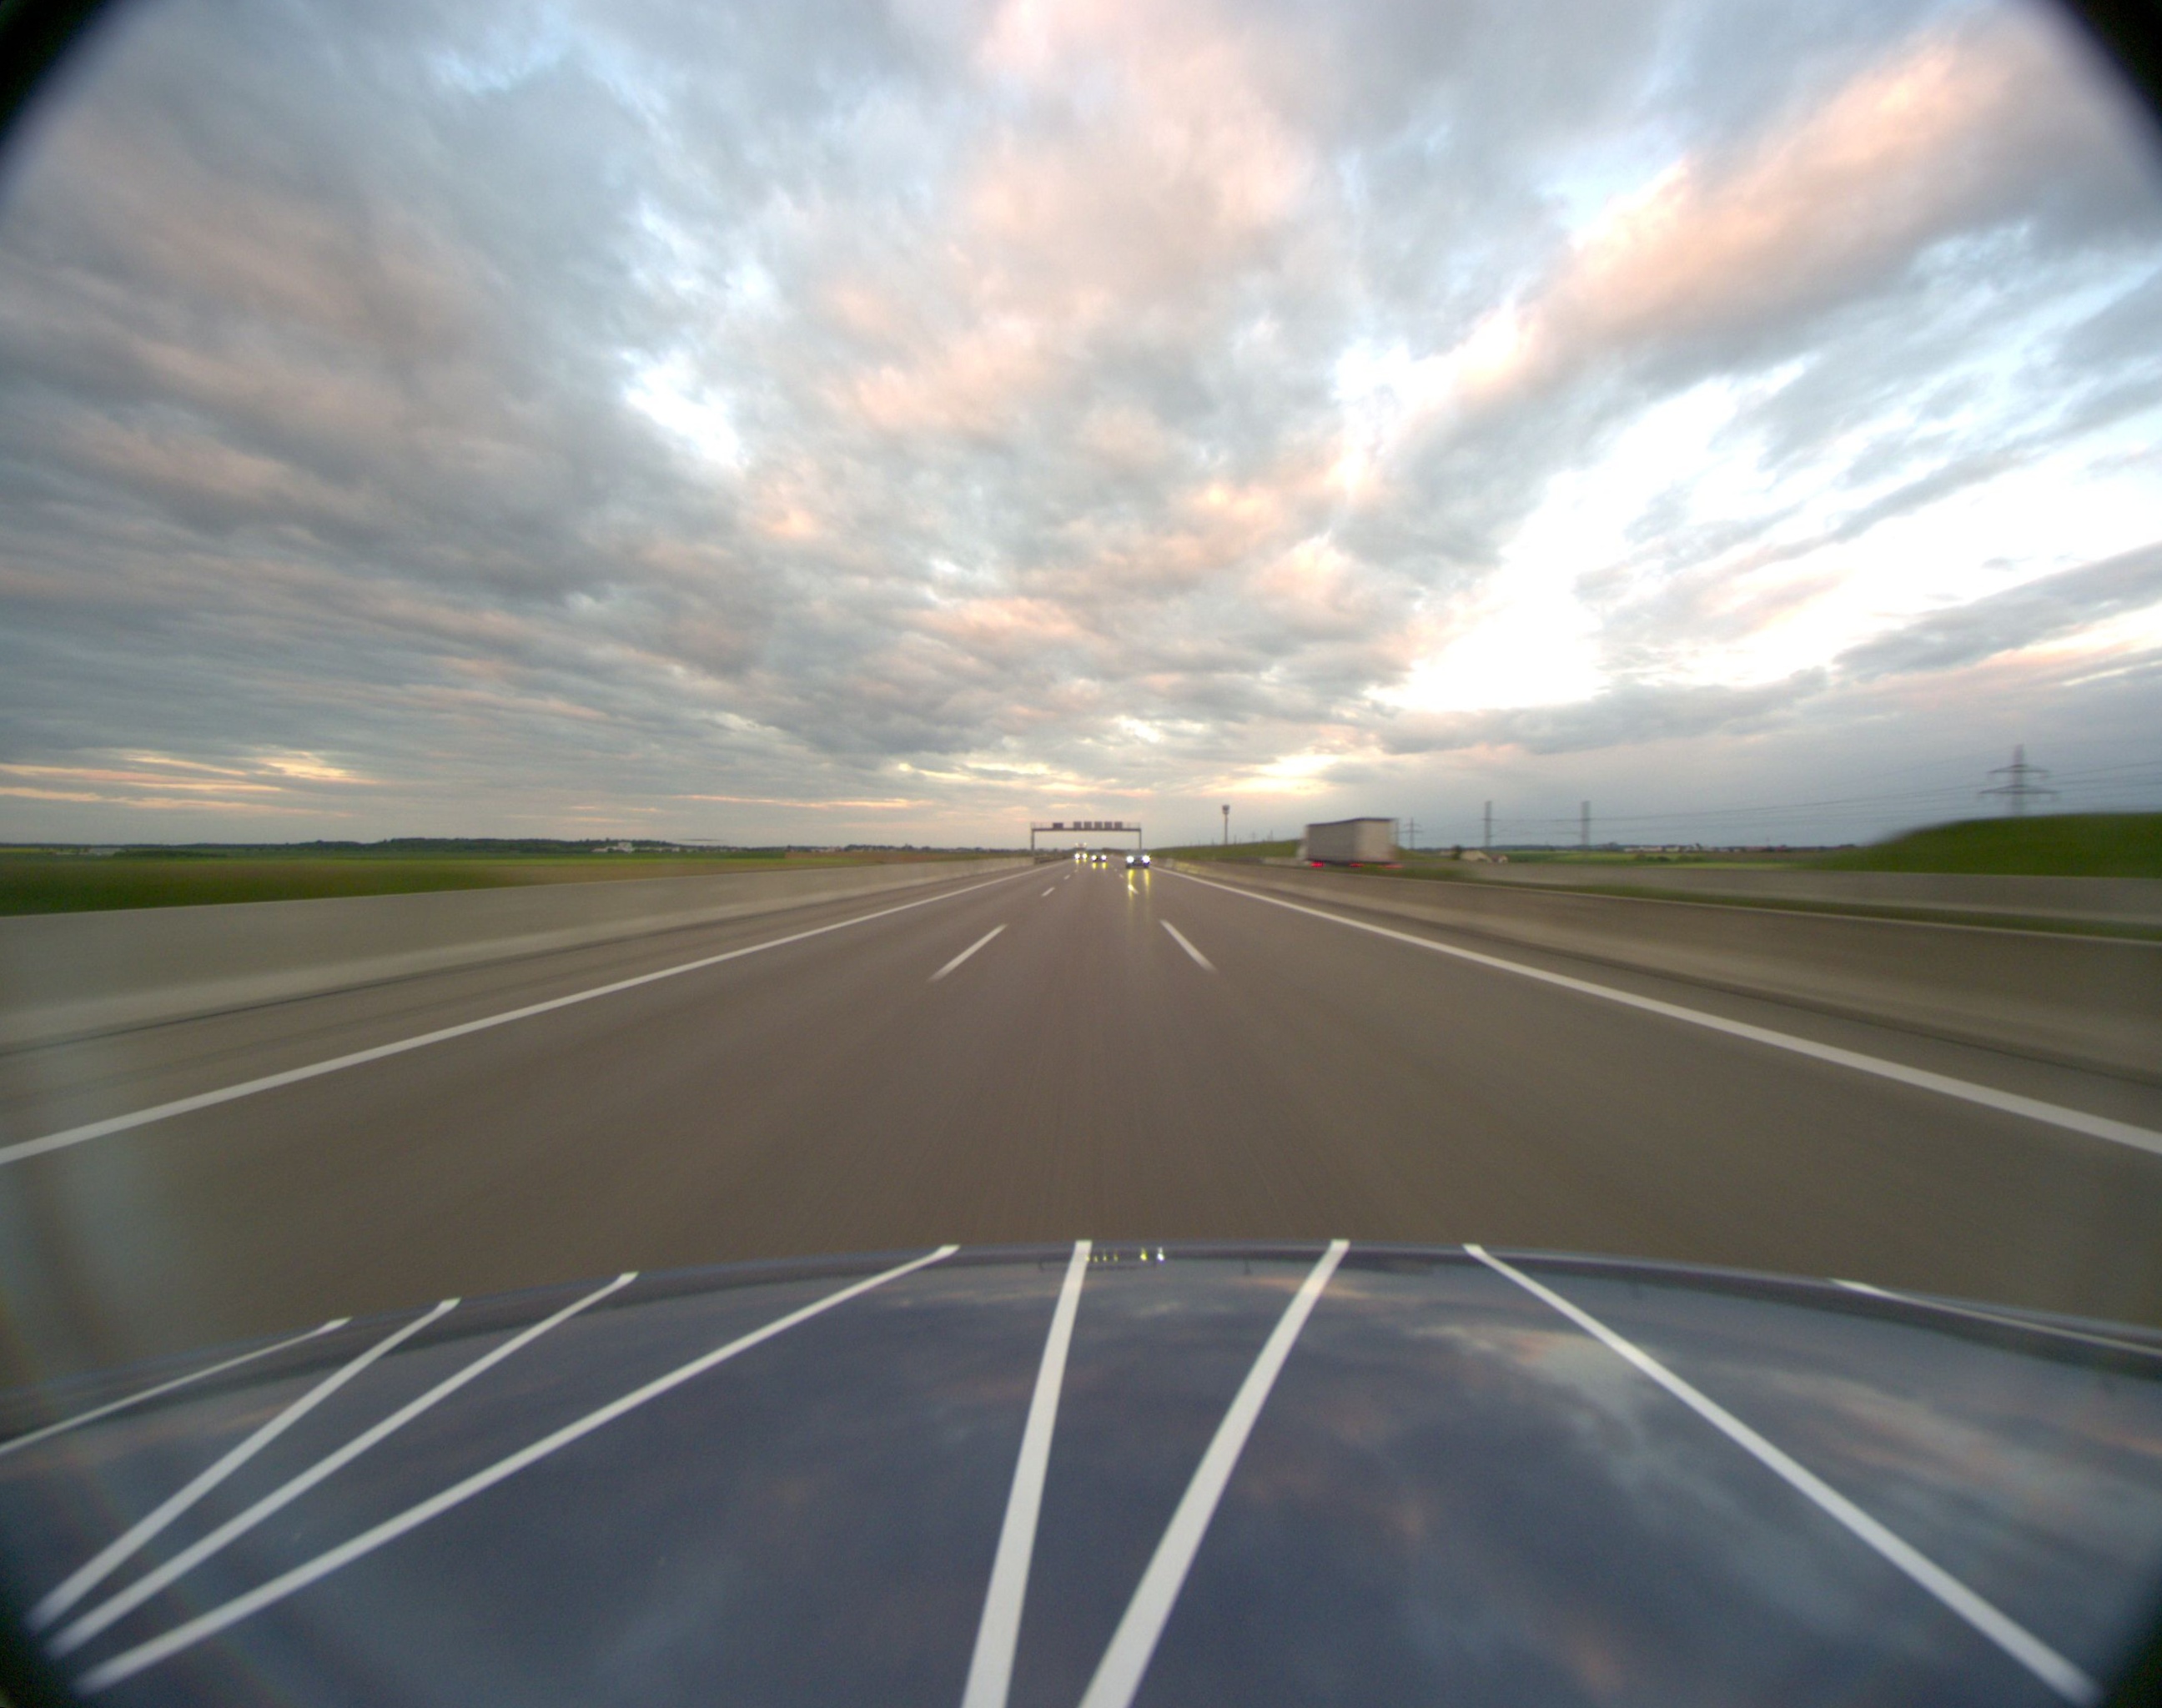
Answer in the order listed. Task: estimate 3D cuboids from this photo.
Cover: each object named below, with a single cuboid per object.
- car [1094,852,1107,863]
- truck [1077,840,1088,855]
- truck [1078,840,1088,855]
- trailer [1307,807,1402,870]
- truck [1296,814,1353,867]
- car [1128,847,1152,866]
[{"bbox_3d":[2.999,0.504,116.145,1.998,1.652,4.851,-2,1,2],"label":"car"},{"bbox_3d":[0.441,-1.647,200.892,2.596,3.999,5.859,-1,0,1],"label":"truck"},{"bbox_3d":[0.586,-1.718,207.409,2.596,3.999,12.985,-1,0,1],"label":"truck"},{"bbox_3d":[20.987,-1.103,59.454,2.824,4.327,12.837,-2,0,1],"label":"trailer"},{"bbox_3d":[21.092,-1.136,66.092,2.824,4.327,6.738,-2,0,1],"label":"truck"},{"bbox_3d":[5.522,0.186,71.287,1.998,1.652,4.000,-2,1,2],"label":"car"}]
